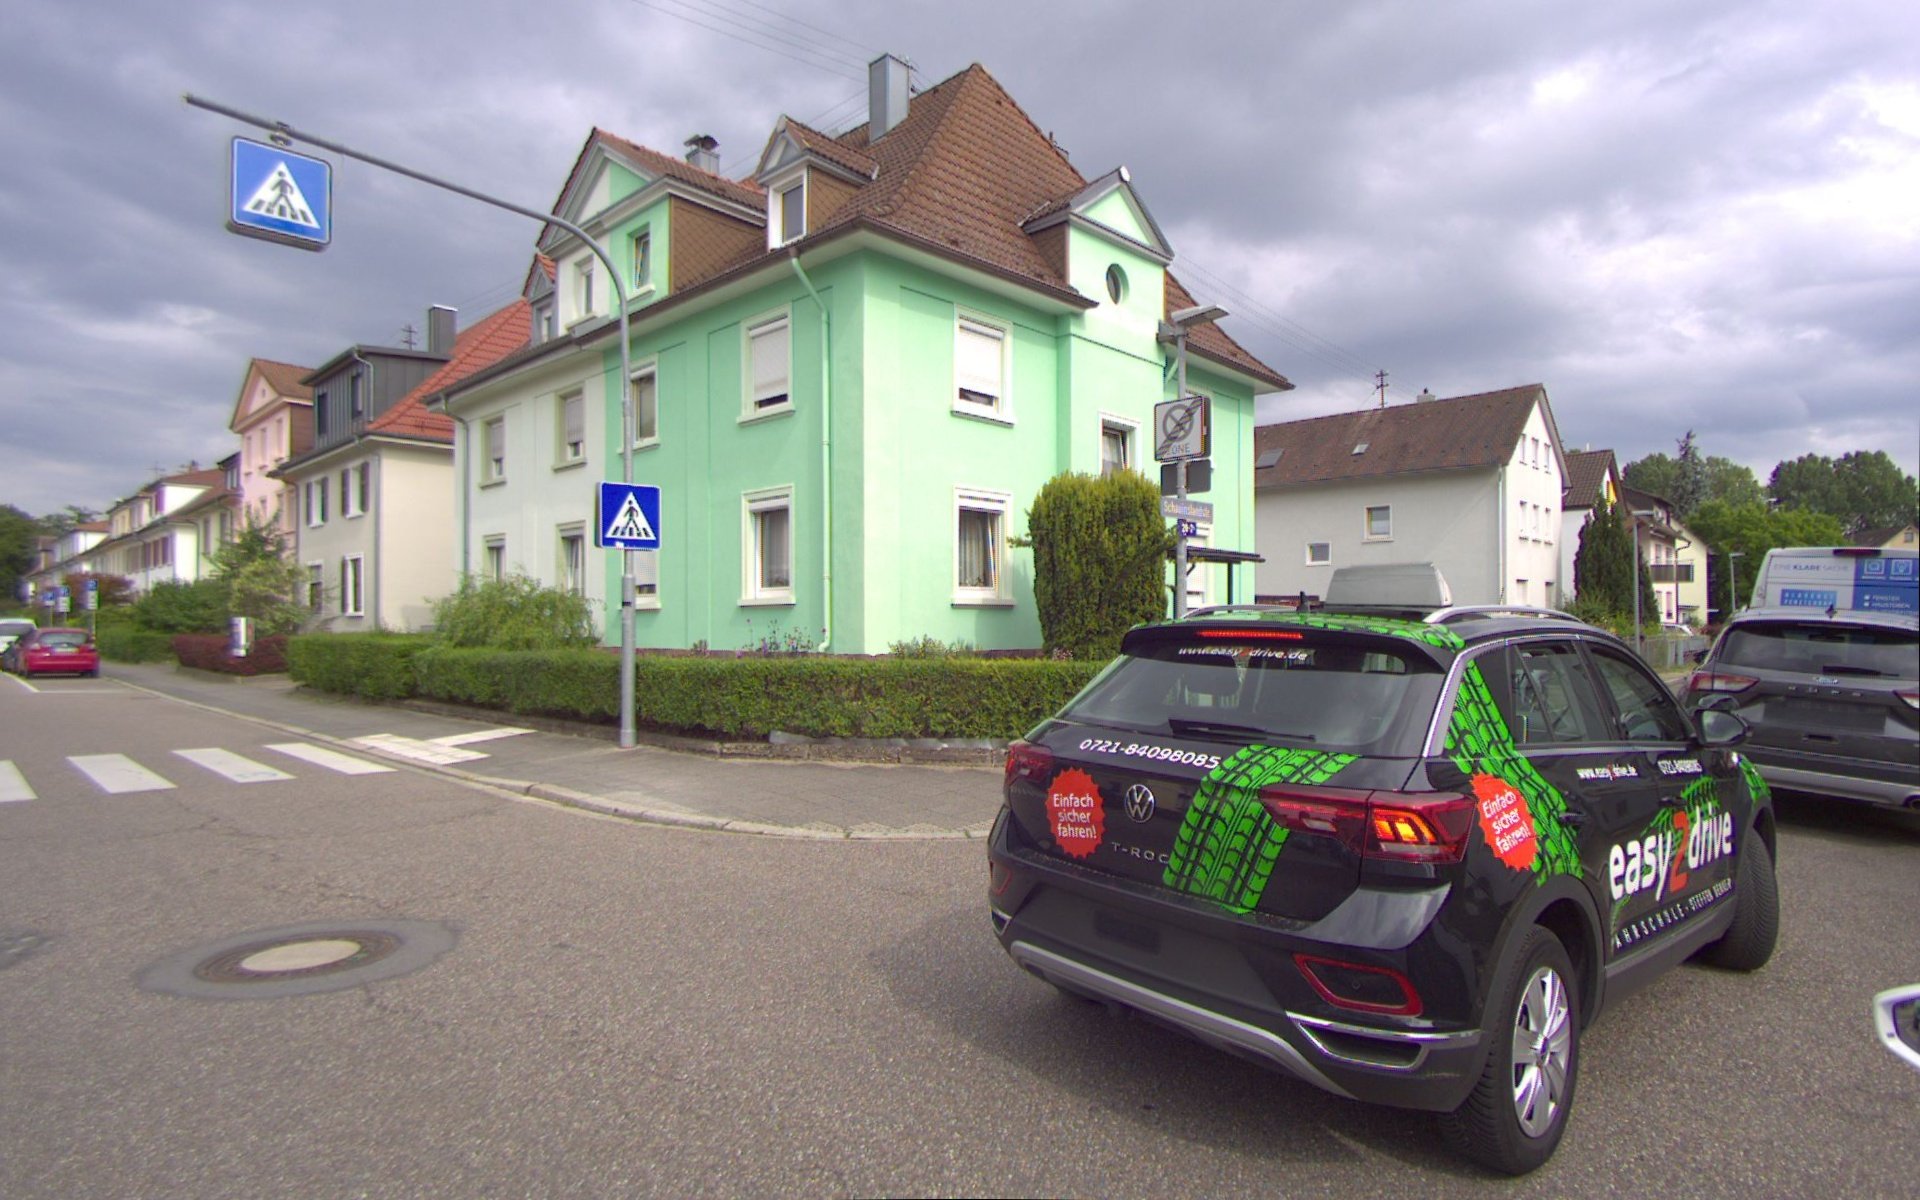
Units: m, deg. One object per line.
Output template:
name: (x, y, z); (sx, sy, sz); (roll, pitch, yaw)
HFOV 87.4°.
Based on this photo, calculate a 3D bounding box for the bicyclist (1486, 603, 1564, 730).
bicyclist: (7.856, 0.908, 13.965); (0.689, 1.688, 0.969); (-3, -3, 44)

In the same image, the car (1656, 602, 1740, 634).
car: (43.611, 1.095, 59.367); (3.938, 1.795, 1.862); (-1, -3, 39)

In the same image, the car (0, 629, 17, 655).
car: (-59.145, 2.552, 61.389); (3.945, 1.595, 1.988); (-1, -2, 44)

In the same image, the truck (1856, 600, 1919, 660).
truck: (44.005, 1.402, 47.668); (2.106, 2.692, 4.561); (-1, -1, 41)

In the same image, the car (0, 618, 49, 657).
car: (-47.687, 1.872, 50.888); (3.945, 1.929, 1.988); (-1, -2, 44)

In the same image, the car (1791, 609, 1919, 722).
car: (16.277, 1.081, 18.065); (1.971, 1.795, 4.320); (-1, -1, 41)

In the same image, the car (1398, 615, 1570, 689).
car: (12.955, 1.254, 24.918); (3.529, 1.689, 1.580); (-1, -2, 40)

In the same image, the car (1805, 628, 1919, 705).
car: (19.658, 1.368, 21.790); (1.971, 1.475, 4.320); (-1, -2, 41)

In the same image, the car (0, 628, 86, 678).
car: (-31.779, 1.782, 34.749); (3.945, 1.595, 1.988); (-1, -2, 44)

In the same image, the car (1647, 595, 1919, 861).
car: (7.346, 0.882, 8.584); (1.971, 1.749, 4.320); (-1, -1, 41)

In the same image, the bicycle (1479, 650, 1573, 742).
bicycle: (7.910, 1.295, 13.997); (0.697, 1.167, 1.862); (-2, -2, 43)

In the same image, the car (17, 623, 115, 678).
car: (-27.921, 1.529, 31.333); (3.945, 1.595, 1.988); (-1, -2, 44)

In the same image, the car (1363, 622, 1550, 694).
car: (11.206, 1.267, 22.779); (3.529, 1.520, 1.580); (-1, -2, 40)

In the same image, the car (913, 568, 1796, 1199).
car: (1.926, 0.769, 4.139); (4.013, 1.540, 1.800); (2, -2, -42)

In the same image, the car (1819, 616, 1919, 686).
car: (25.087, 1.332, 27.795); (1.971, 1.772, 4.320); (-1, -1, 41)

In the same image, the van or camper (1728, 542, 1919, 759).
van or camper: (12.222, 0.620, 13.825); (2.168, 2.491, 5.026); (-1, -1, 43)
